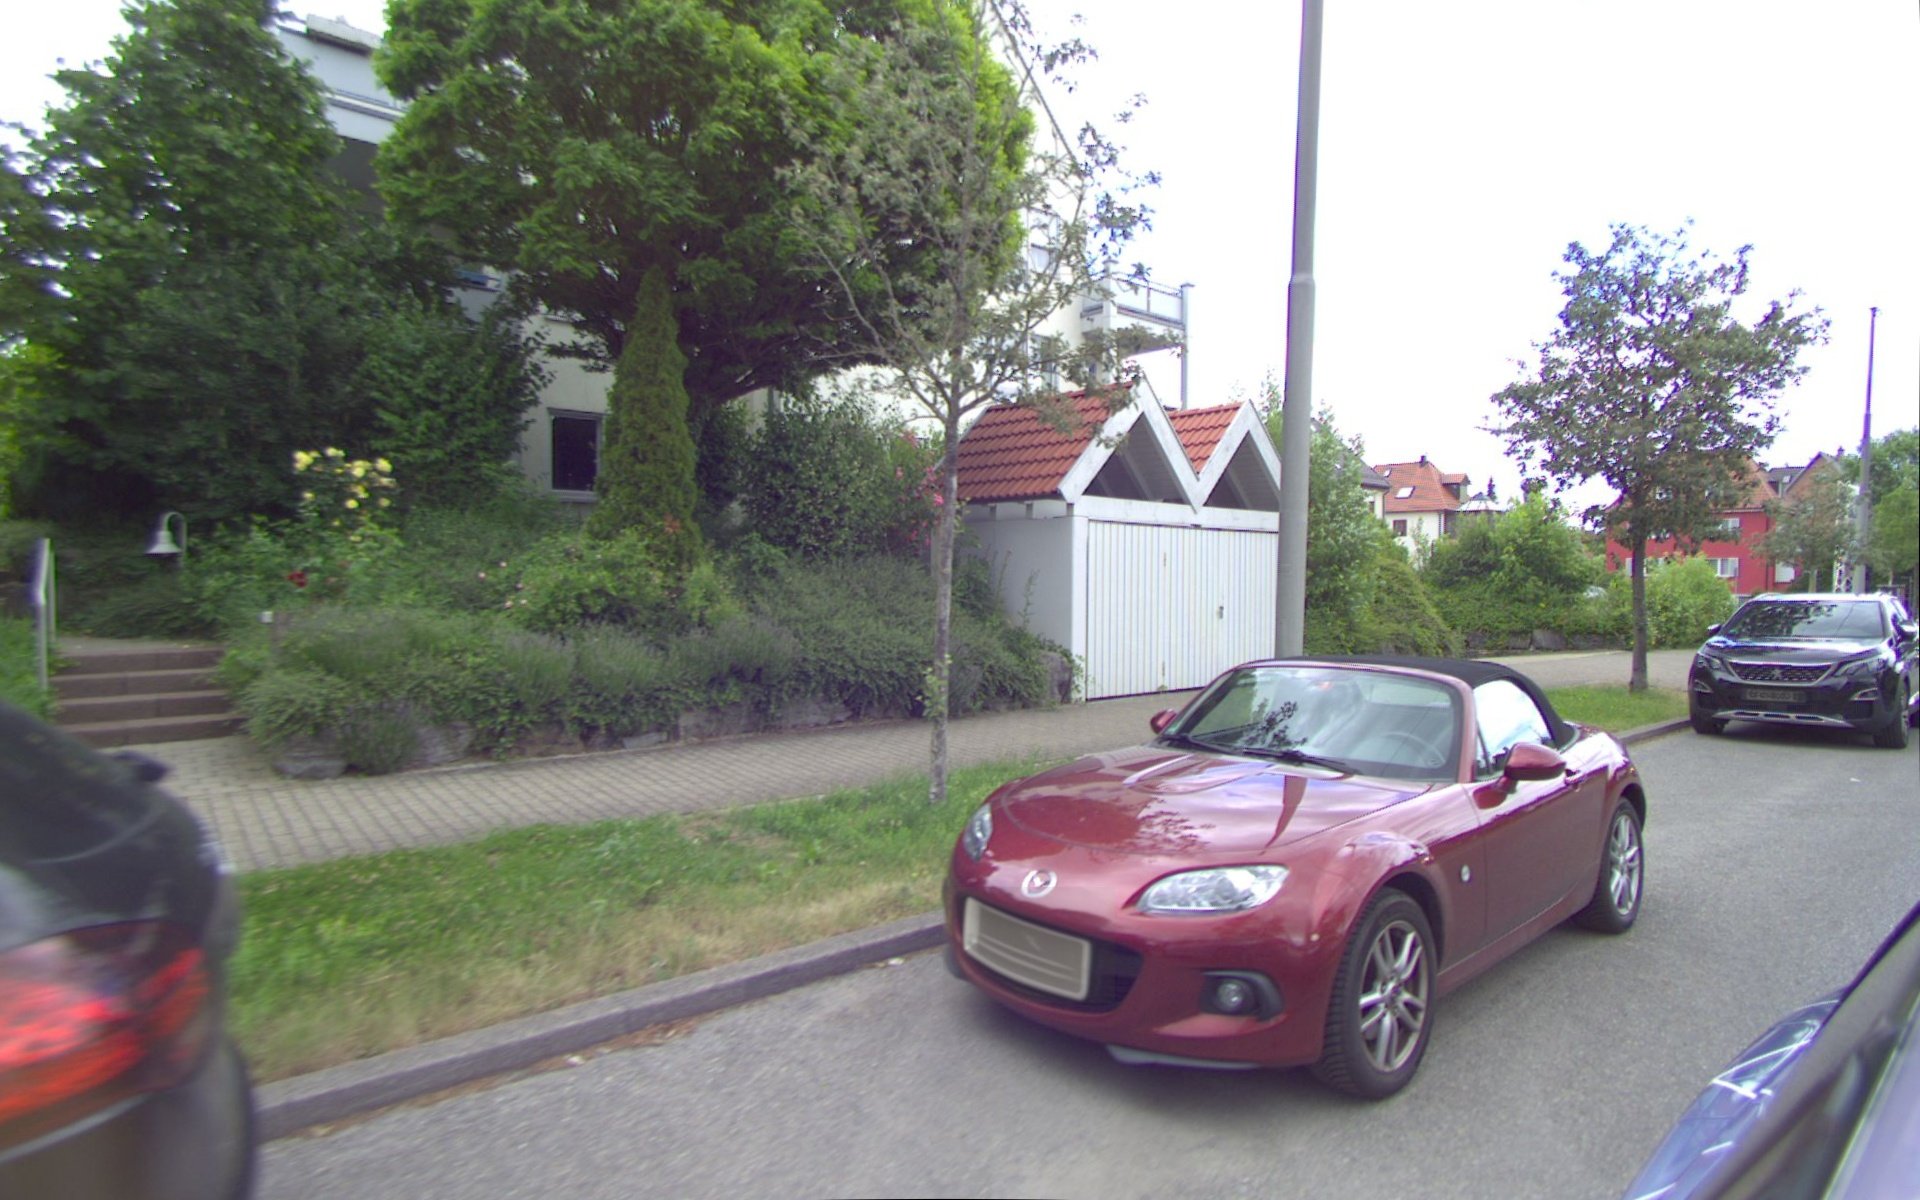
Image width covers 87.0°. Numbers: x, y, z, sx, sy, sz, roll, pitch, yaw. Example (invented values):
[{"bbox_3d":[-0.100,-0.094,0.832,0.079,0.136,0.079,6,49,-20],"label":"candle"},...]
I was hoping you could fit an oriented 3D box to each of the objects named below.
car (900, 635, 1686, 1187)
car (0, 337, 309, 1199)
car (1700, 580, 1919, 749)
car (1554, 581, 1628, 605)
[{"bbox_3d":[1.700,0.837,4.355,3.816,1.252,1.483,0,-1,-41],"label":"car"},{"bbox_3d":[-3.014,0.615,0.377,4.469,1.733,1.833,0,0,-41],"label":"car"},{"bbox_3d":[10.180,0.615,11.761,4.037,1.629,1.690,0,0,-41],"label":"car"},{"bbox_3d":[46.215,-0.520,74.189,1.730,1.442,4.227,2,2,-42],"label":"car"}]
